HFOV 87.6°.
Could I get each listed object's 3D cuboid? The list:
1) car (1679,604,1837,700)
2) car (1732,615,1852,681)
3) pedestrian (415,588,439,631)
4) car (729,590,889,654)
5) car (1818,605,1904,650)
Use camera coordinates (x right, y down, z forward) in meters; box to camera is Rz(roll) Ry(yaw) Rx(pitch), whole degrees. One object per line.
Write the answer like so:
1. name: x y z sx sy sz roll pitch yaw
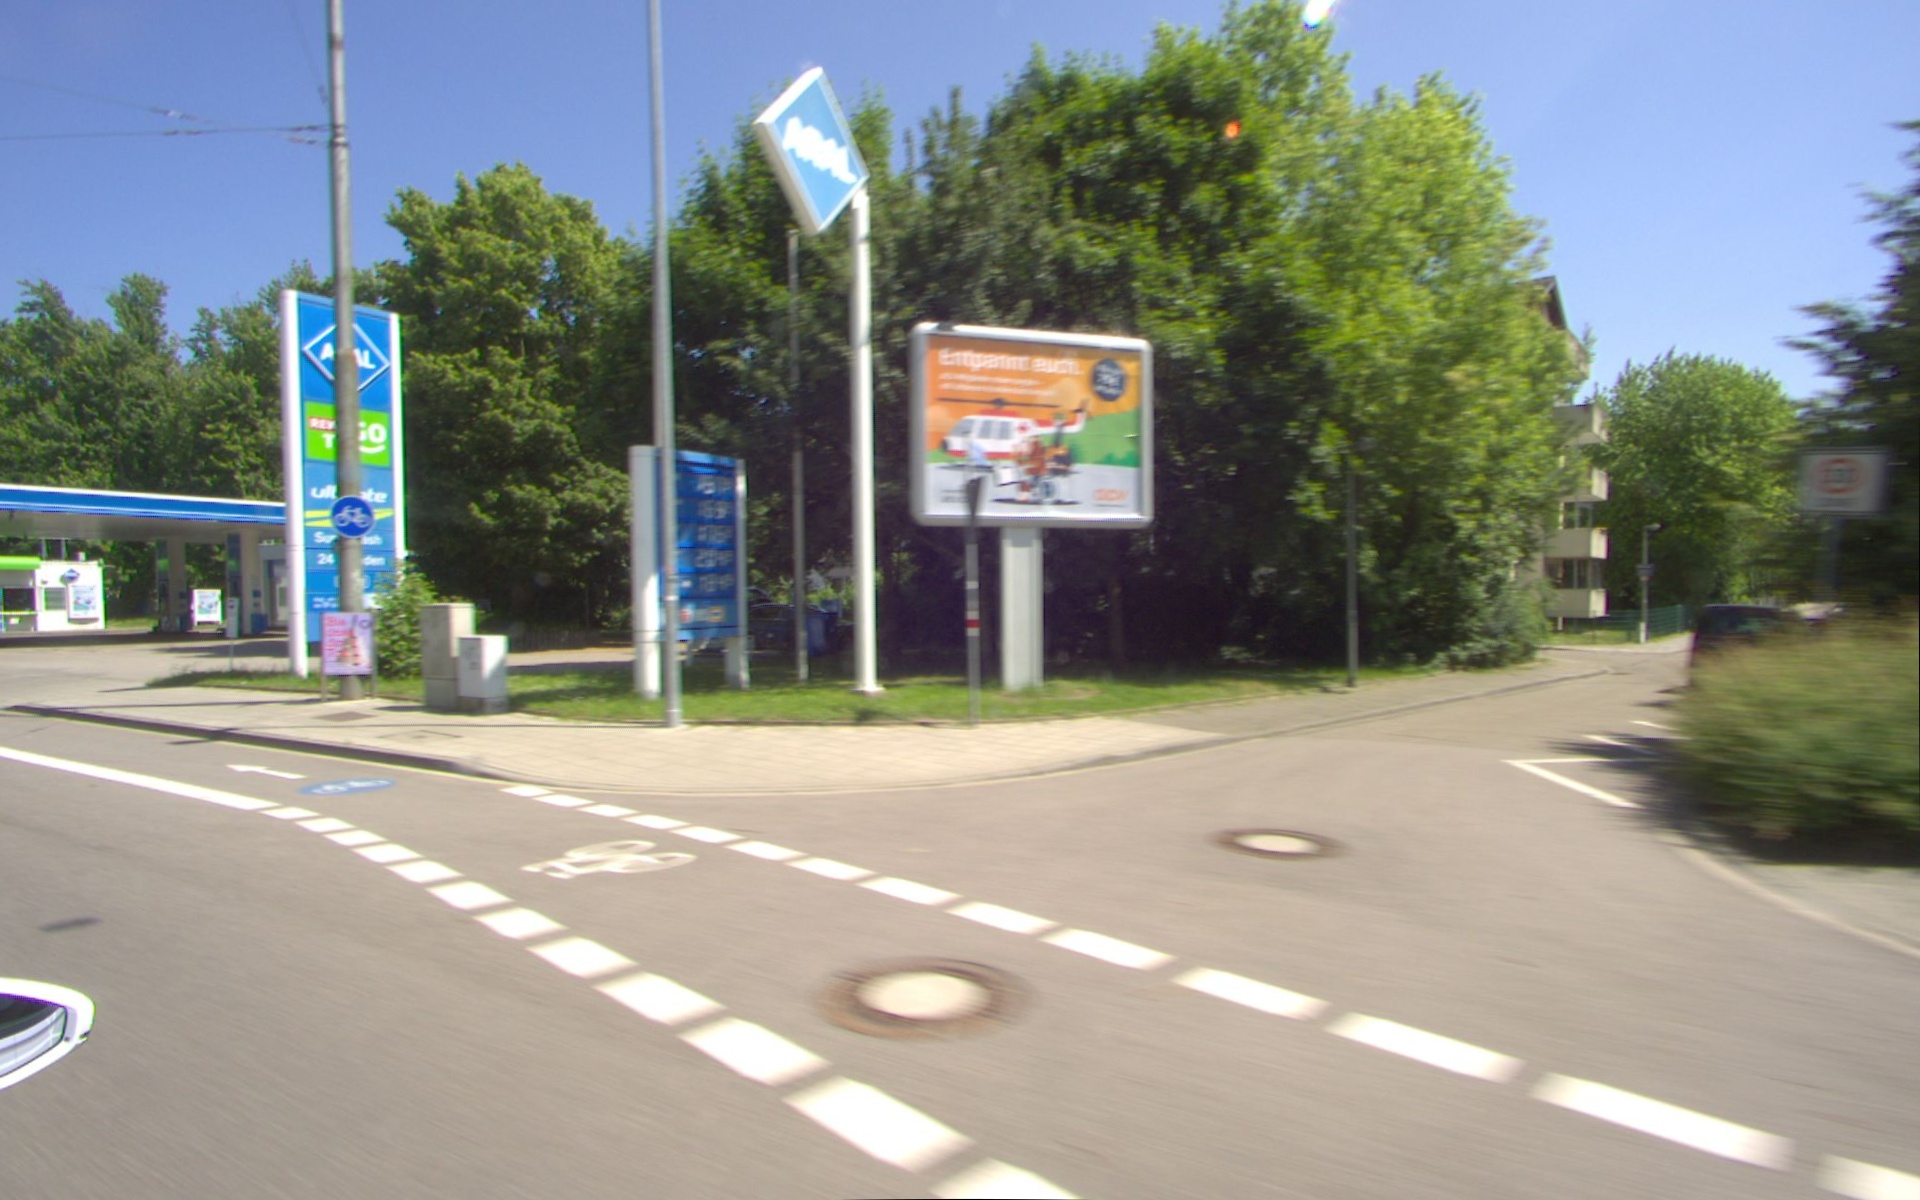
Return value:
1. car: 16.088 0.948 20.117 3.960 1.710 1.980 0 0 -44
2. car: 21.519 1.170 25.858 3.957 1.508 1.828 0 0 -42
3. pedestrian: -24.172 0.436 45.388 0.825 1.914 0.623 1 2 31
4. car: -4.331 0.626 28.404 4.354 1.684 1.987 -1 0 37
5. car: 34.139 0.989 37.901 3.957 1.572 1.982 0 0 -41
